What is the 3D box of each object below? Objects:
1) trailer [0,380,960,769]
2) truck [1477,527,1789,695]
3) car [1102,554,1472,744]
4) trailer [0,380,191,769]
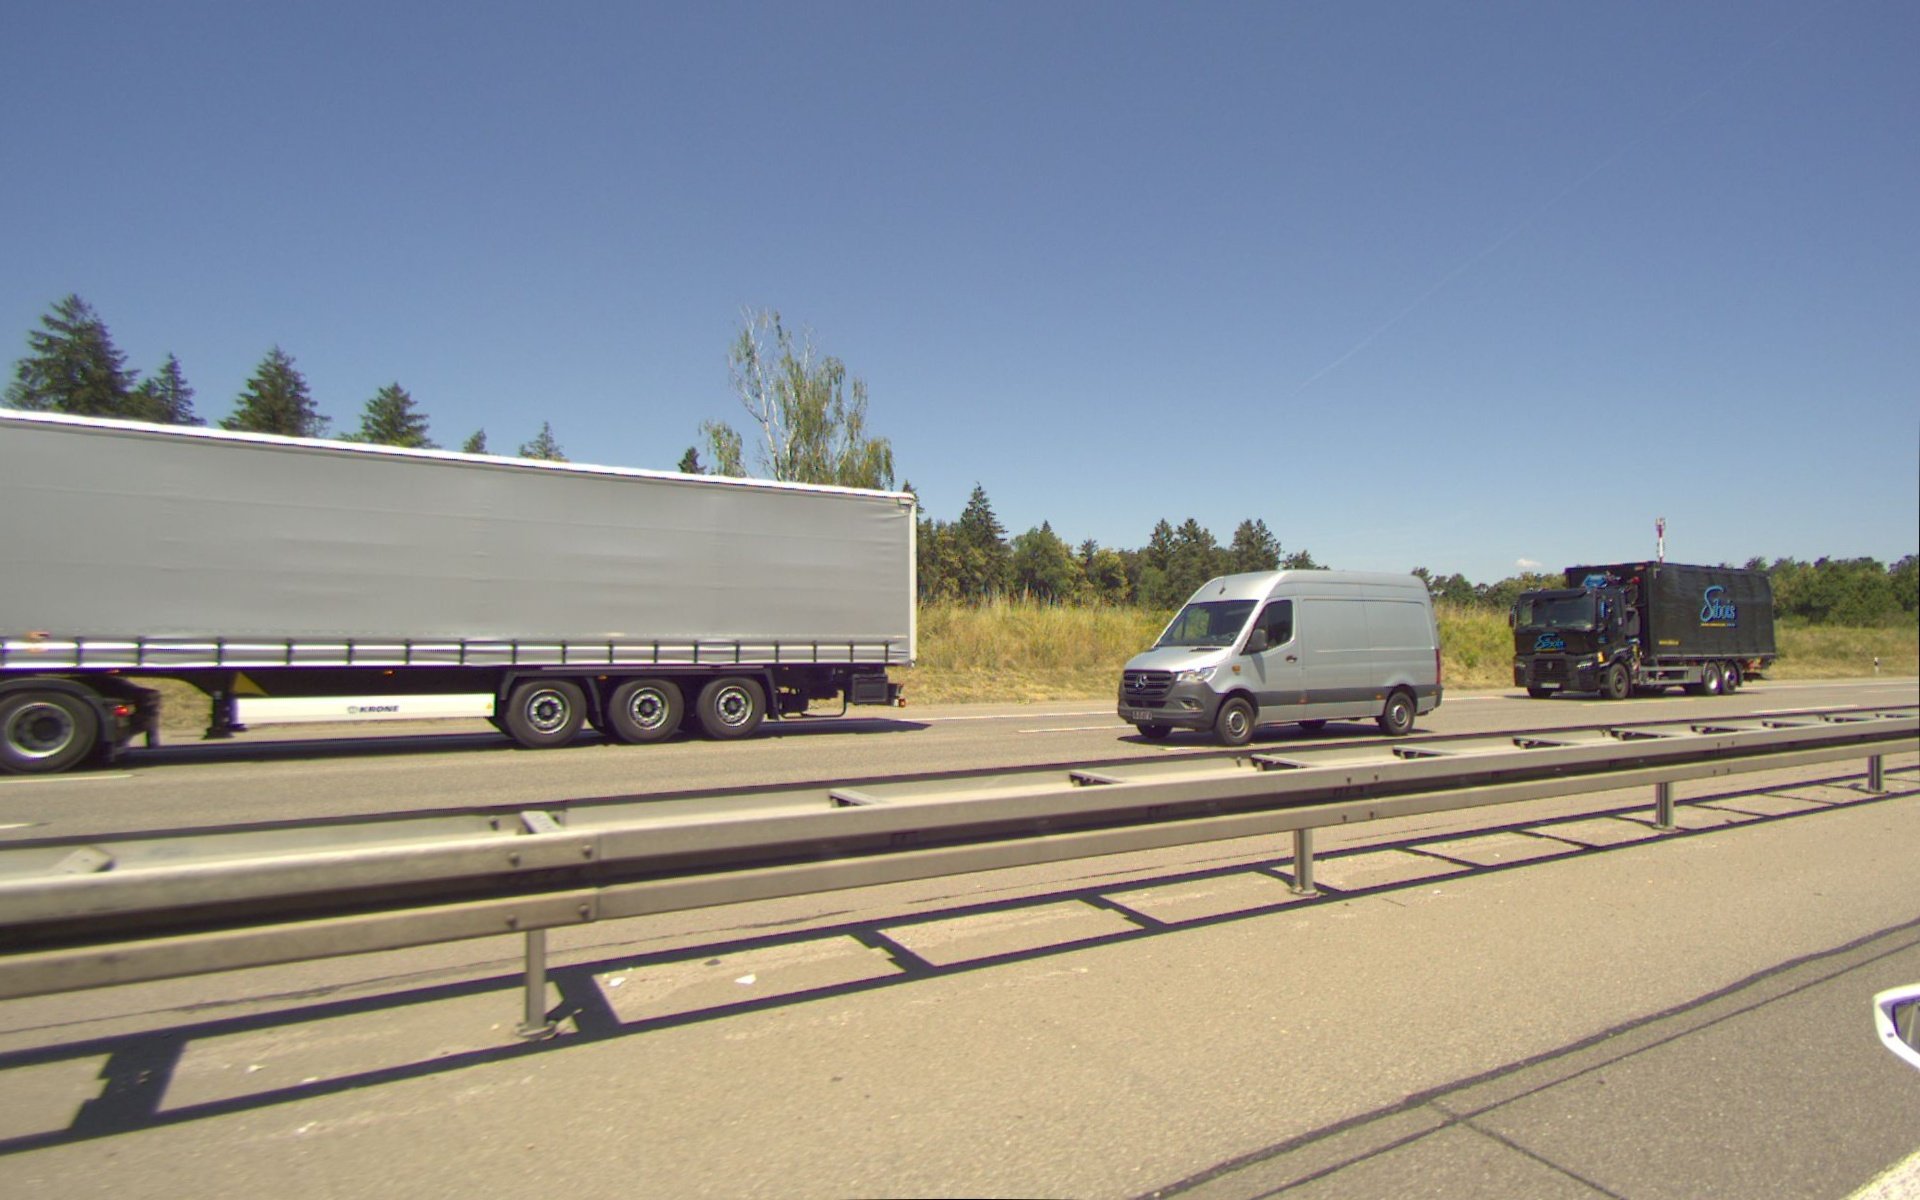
[{"bbox_3d":[-6.792,-0.075,14.956,13.960,4.253,3.141,2,-4,-30],"label":"trailer"},{"bbox_3d":[21.913,0.551,32.365,12.044,4.685,3.362,2,-4,-30],"label":"truck"},{"bbox_3d":[5.409,0.797,16.219,6.315,2.603,1.985,2,-3,-30],"label":"car"},{"bbox_3d":[-12.920,-0.256,11.326,6.251,4.253,3.141,2,-4,-30],"label":"trailer"}]
